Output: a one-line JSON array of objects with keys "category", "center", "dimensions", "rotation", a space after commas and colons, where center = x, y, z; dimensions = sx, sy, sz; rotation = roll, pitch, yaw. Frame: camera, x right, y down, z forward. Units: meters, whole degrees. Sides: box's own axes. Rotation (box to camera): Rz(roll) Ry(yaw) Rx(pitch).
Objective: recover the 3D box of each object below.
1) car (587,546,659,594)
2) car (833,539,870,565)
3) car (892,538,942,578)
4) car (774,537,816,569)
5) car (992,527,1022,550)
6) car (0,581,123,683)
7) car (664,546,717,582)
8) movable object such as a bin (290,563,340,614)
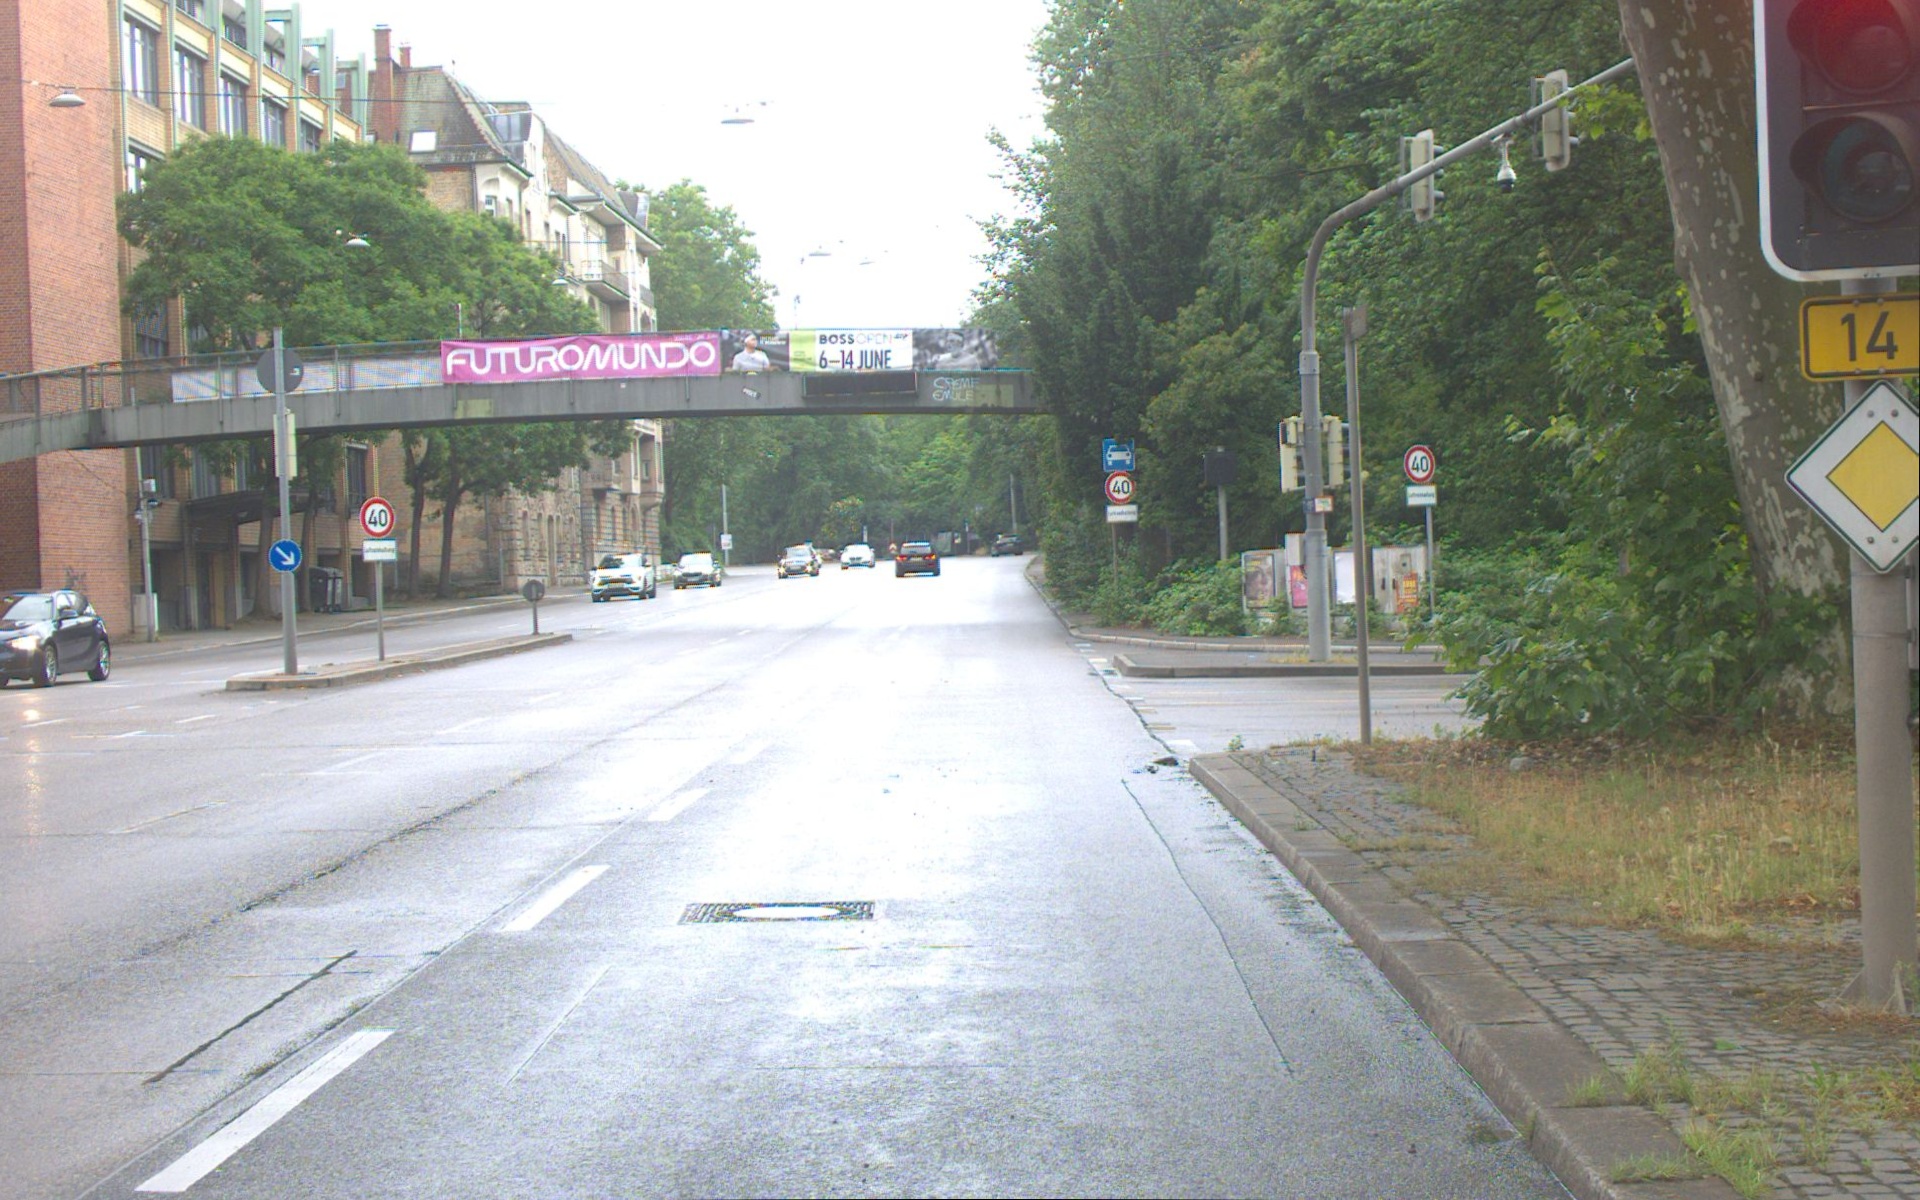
[{"category": "car", "center": [-11.798, -1.045, 120.593], "dimensions": [1.890, 1.604, 4.456], "rotation": [-1, 0, 2]}, {"category": "car", "center": [-6.175, -2.739, 196.093], "dimensions": [1.830, 1.389, 4.405], "rotation": [-3, 0, 1]}, {"category": "car", "center": [-1.838, -1.770, 145.794], "dimensions": [2.004, 1.638, 4.376], "rotation": [-2, 1, -2]}, {"category": "car", "center": [-7.764, -2.196, 161.769], "dimensions": [1.683, 1.431, 3.862], "rotation": [-2, 0, 1]}, {"category": "car", "center": [3.072, -4.004, 224.420], "dimensions": [1.842, 1.448, 3.777], "rotation": [1, 1, -1]}, {"category": "car", "center": [-13.740, 0.468, 50.385], "dimensions": [1.686, 1.414, 4.214], "rotation": [-2, 0, 3]}, {"category": "car", "center": [-11.419, -1.531, 145.699], "dimensions": [1.709, 1.459, 4.041], "rotation": [-2, 0, 3]}, {"category": "movable object such as a bin", "center": [-20.095, -0.364, 107.137], "dimensions": [1.282, 1.513, 1.273], "rotation": [-1, 1, 1]}]
